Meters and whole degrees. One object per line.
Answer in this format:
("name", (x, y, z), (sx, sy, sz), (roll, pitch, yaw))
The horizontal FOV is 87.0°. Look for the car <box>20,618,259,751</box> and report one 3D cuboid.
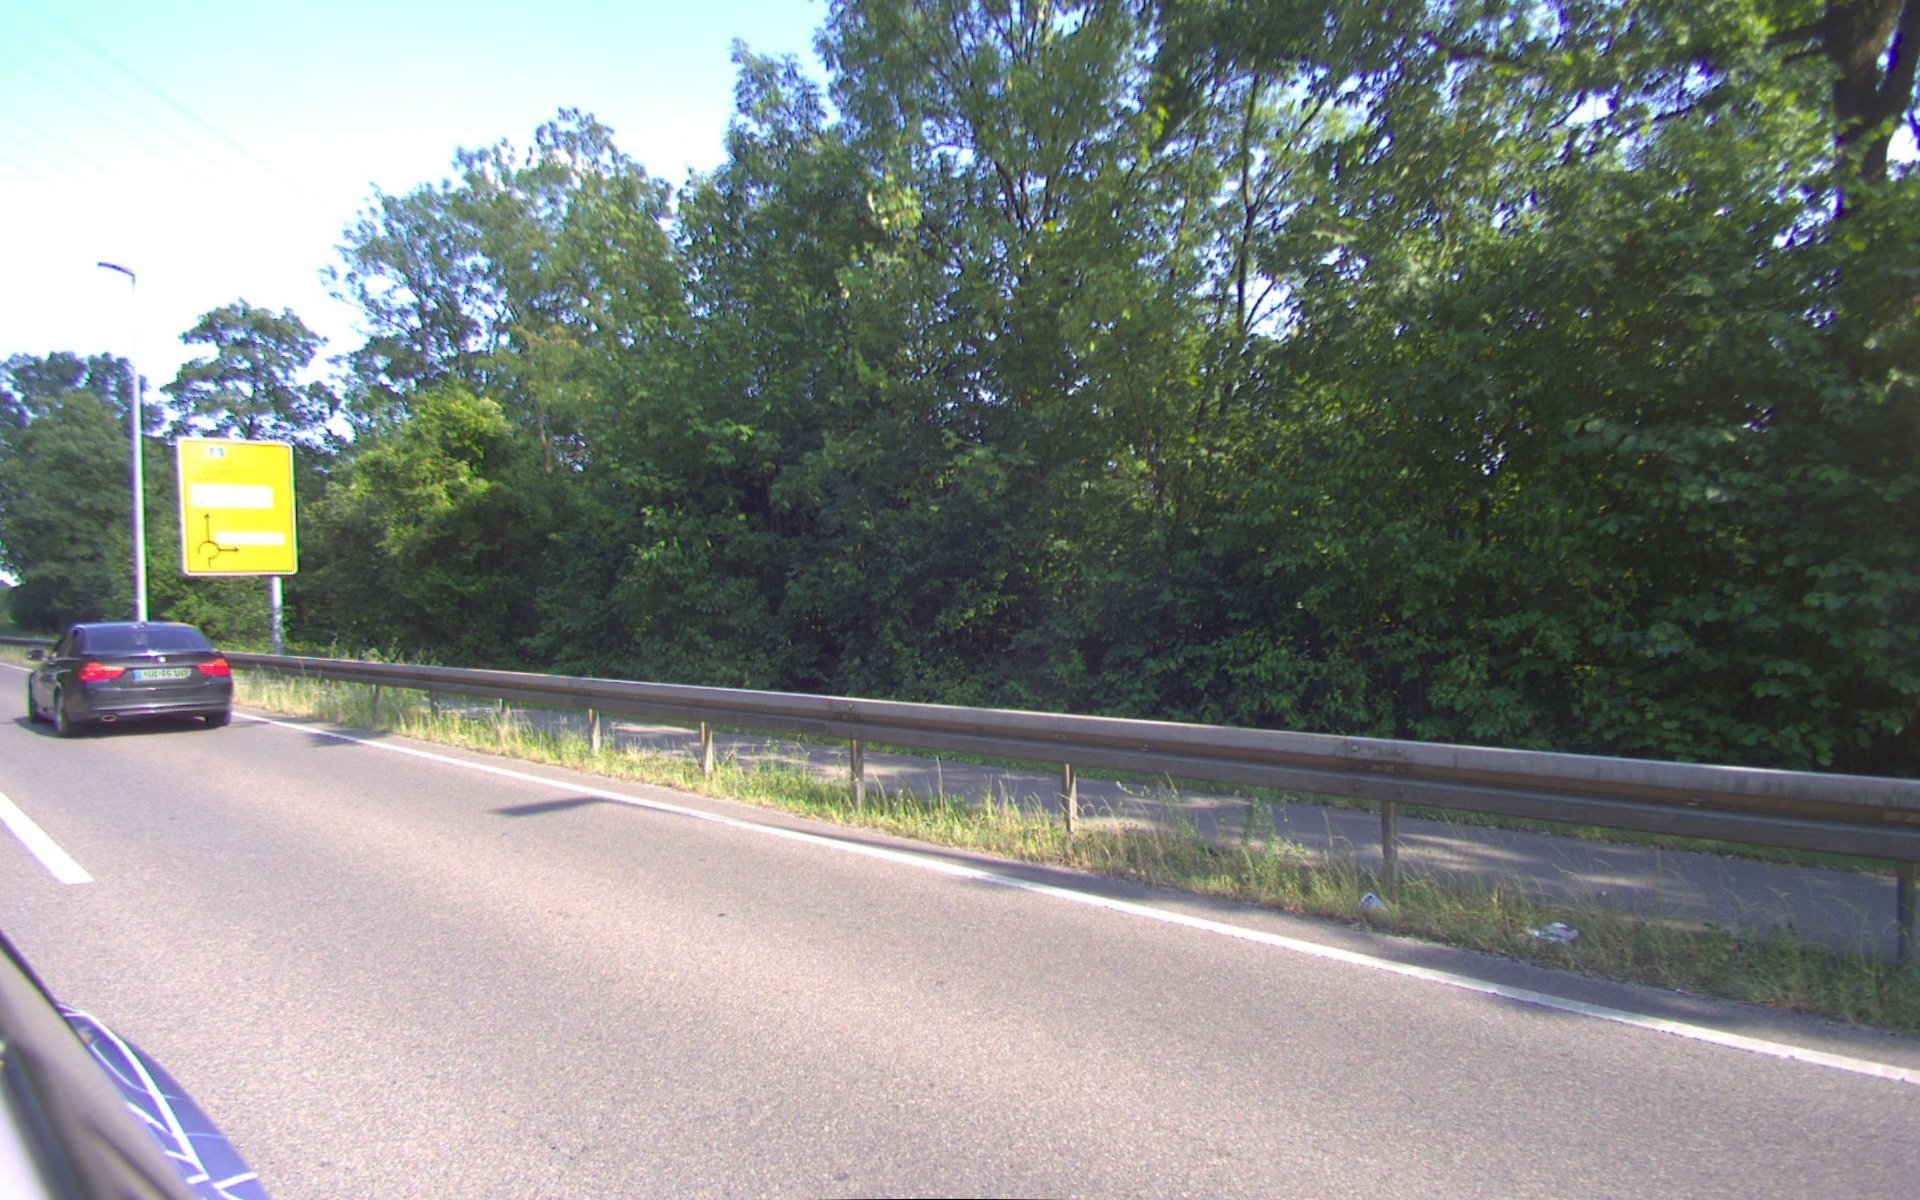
("car", (-10.540, 0.956, 12.901), (4.139, 1.431, 1.674), (-1, -2, 41))
